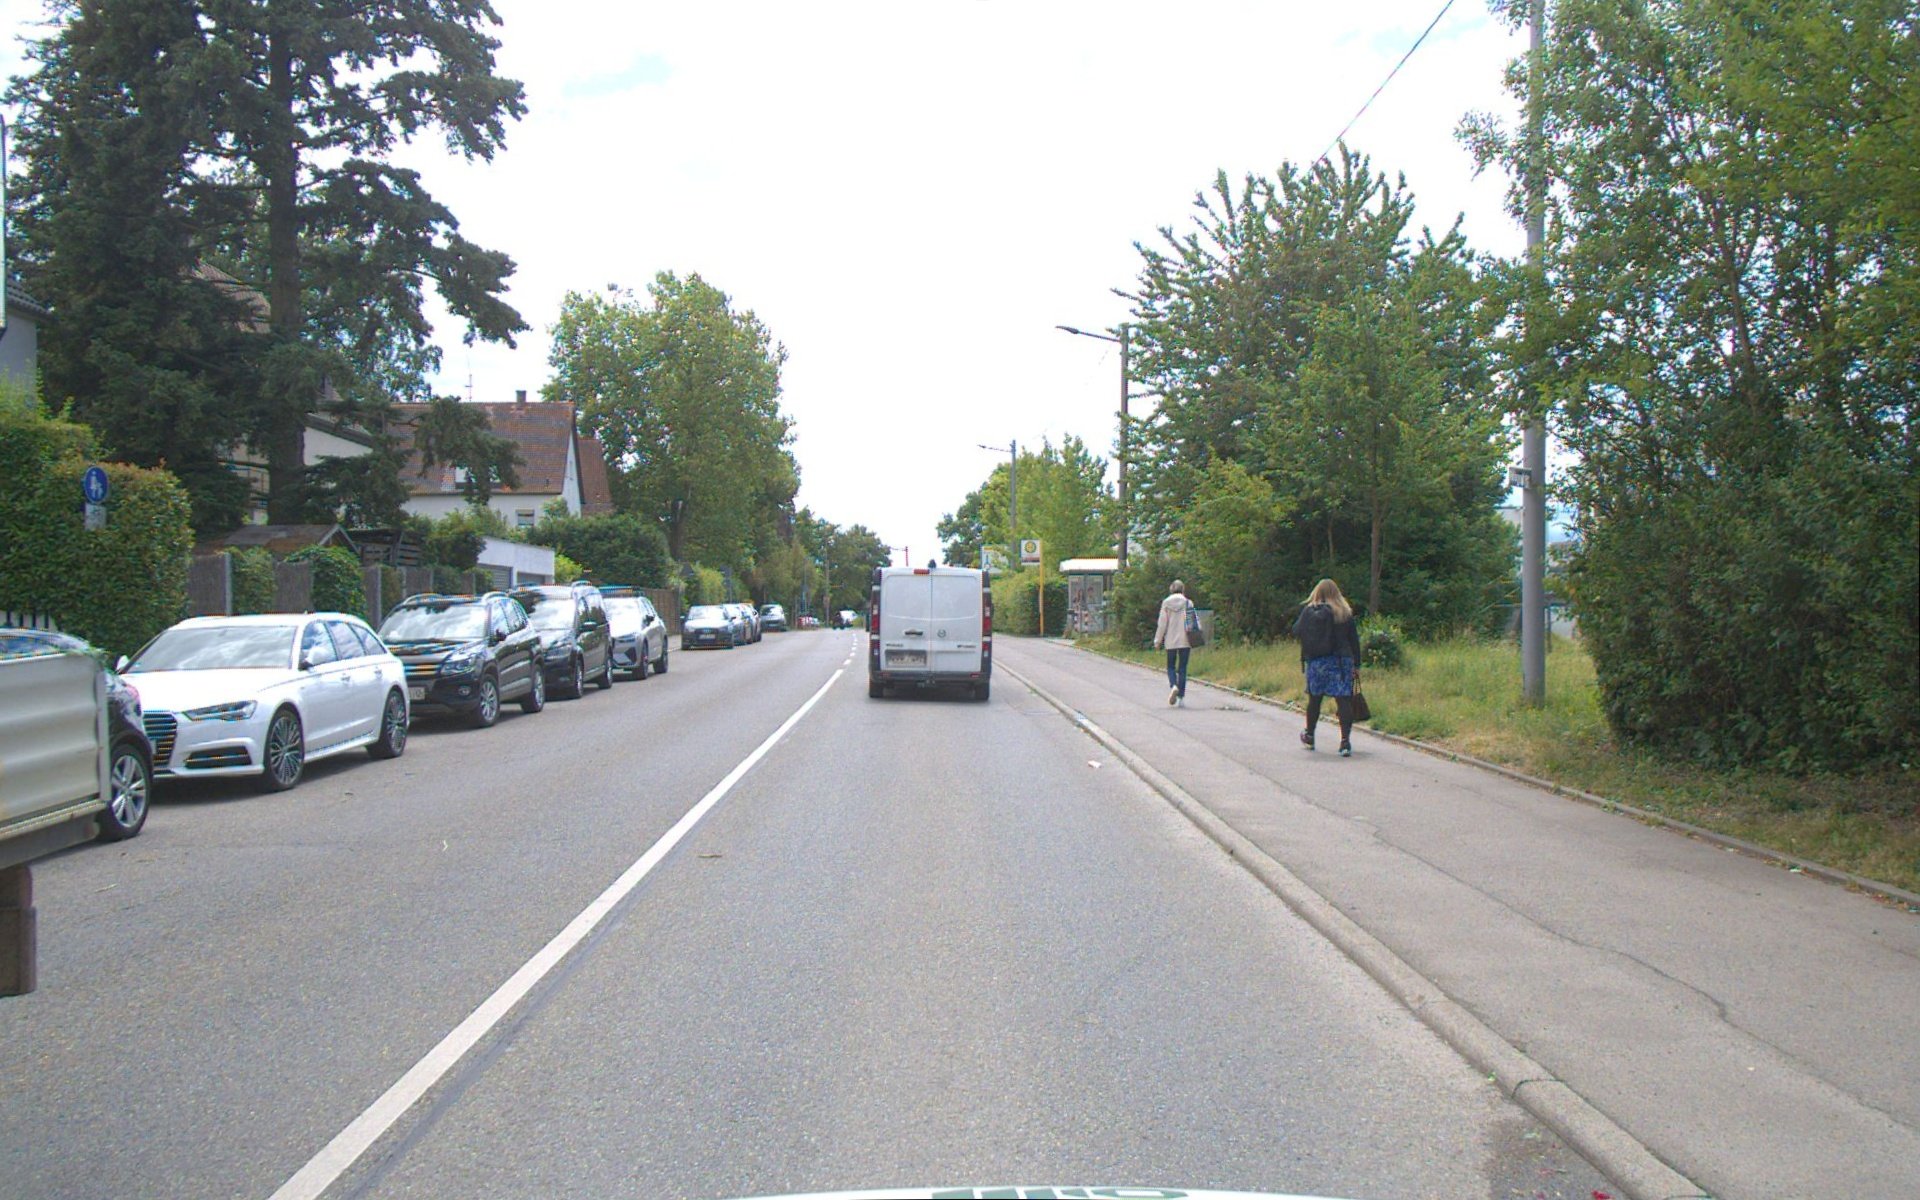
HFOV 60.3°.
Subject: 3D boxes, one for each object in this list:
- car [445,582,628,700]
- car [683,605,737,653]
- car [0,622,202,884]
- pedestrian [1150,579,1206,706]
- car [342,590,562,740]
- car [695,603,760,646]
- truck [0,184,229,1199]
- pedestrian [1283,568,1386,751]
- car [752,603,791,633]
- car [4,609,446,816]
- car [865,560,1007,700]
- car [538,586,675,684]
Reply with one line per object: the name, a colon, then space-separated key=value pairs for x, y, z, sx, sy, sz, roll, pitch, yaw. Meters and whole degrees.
car: x=-7.040 y=0.640 z=28.031 sx=2.026 sy=1.785 sz=4.880 roll=1 pitch=0 yaw=-3
car: x=-8.262 y=0.942 z=54.905 sx=1.620 sy=1.452 sz=3.900 roll=-2 pitch=0 yaw=-7
car: x=-6.304 y=0.917 z=9.646 sx=1.707 sy=1.435 sz=4.323 roll=-2 pitch=0 yaw=0
pedestrian: x=2.944 y=0.569 z=22.391 sx=0.671 sy=1.688 sz=0.690 roll=1 pitch=-1 yaw=3
car: x=-6.611 y=0.764 z=22.016 sx=1.594 sy=1.707 sz=4.582 roll=-3 pitch=0 yaw=-2
car: x=-8.390 y=0.860 z=59.928 sx=1.829 sy=1.485 sz=4.487 roll=-1 pitch=0 yaw=-2
truck: x=-3.209 y=0.305 z=1.332 sx=2.144 sy=2.413 sz=6.904 roll=-2 pitch=0 yaw=0
pedestrian: x=3.578 y=0.556 z=15.850 sx=0.822 sy=1.688 sz=0.766 roll=1 pitch=-1 yaw=3
car: x=-11.865 y=1.130 z=104.013 sx=2.093 sy=1.803 sz=4.453 roll=1 pitch=0 yaw=-11
car: x=-6.453 y=0.878 z=15.284 sx=1.768 sy=1.484 sz=5.068 roll=-2 pitch=0 yaw=0
car: x=-0.483 y=0.442 z=26.255 sx=1.994 sy=1.979 sz=4.990 roll=1 pitch=0 yaw=-3
car: x=-7.138 y=0.648 z=33.872 sx=1.945 sy=1.851 sz=4.705 roll=0 pitch=0 yaw=-2
